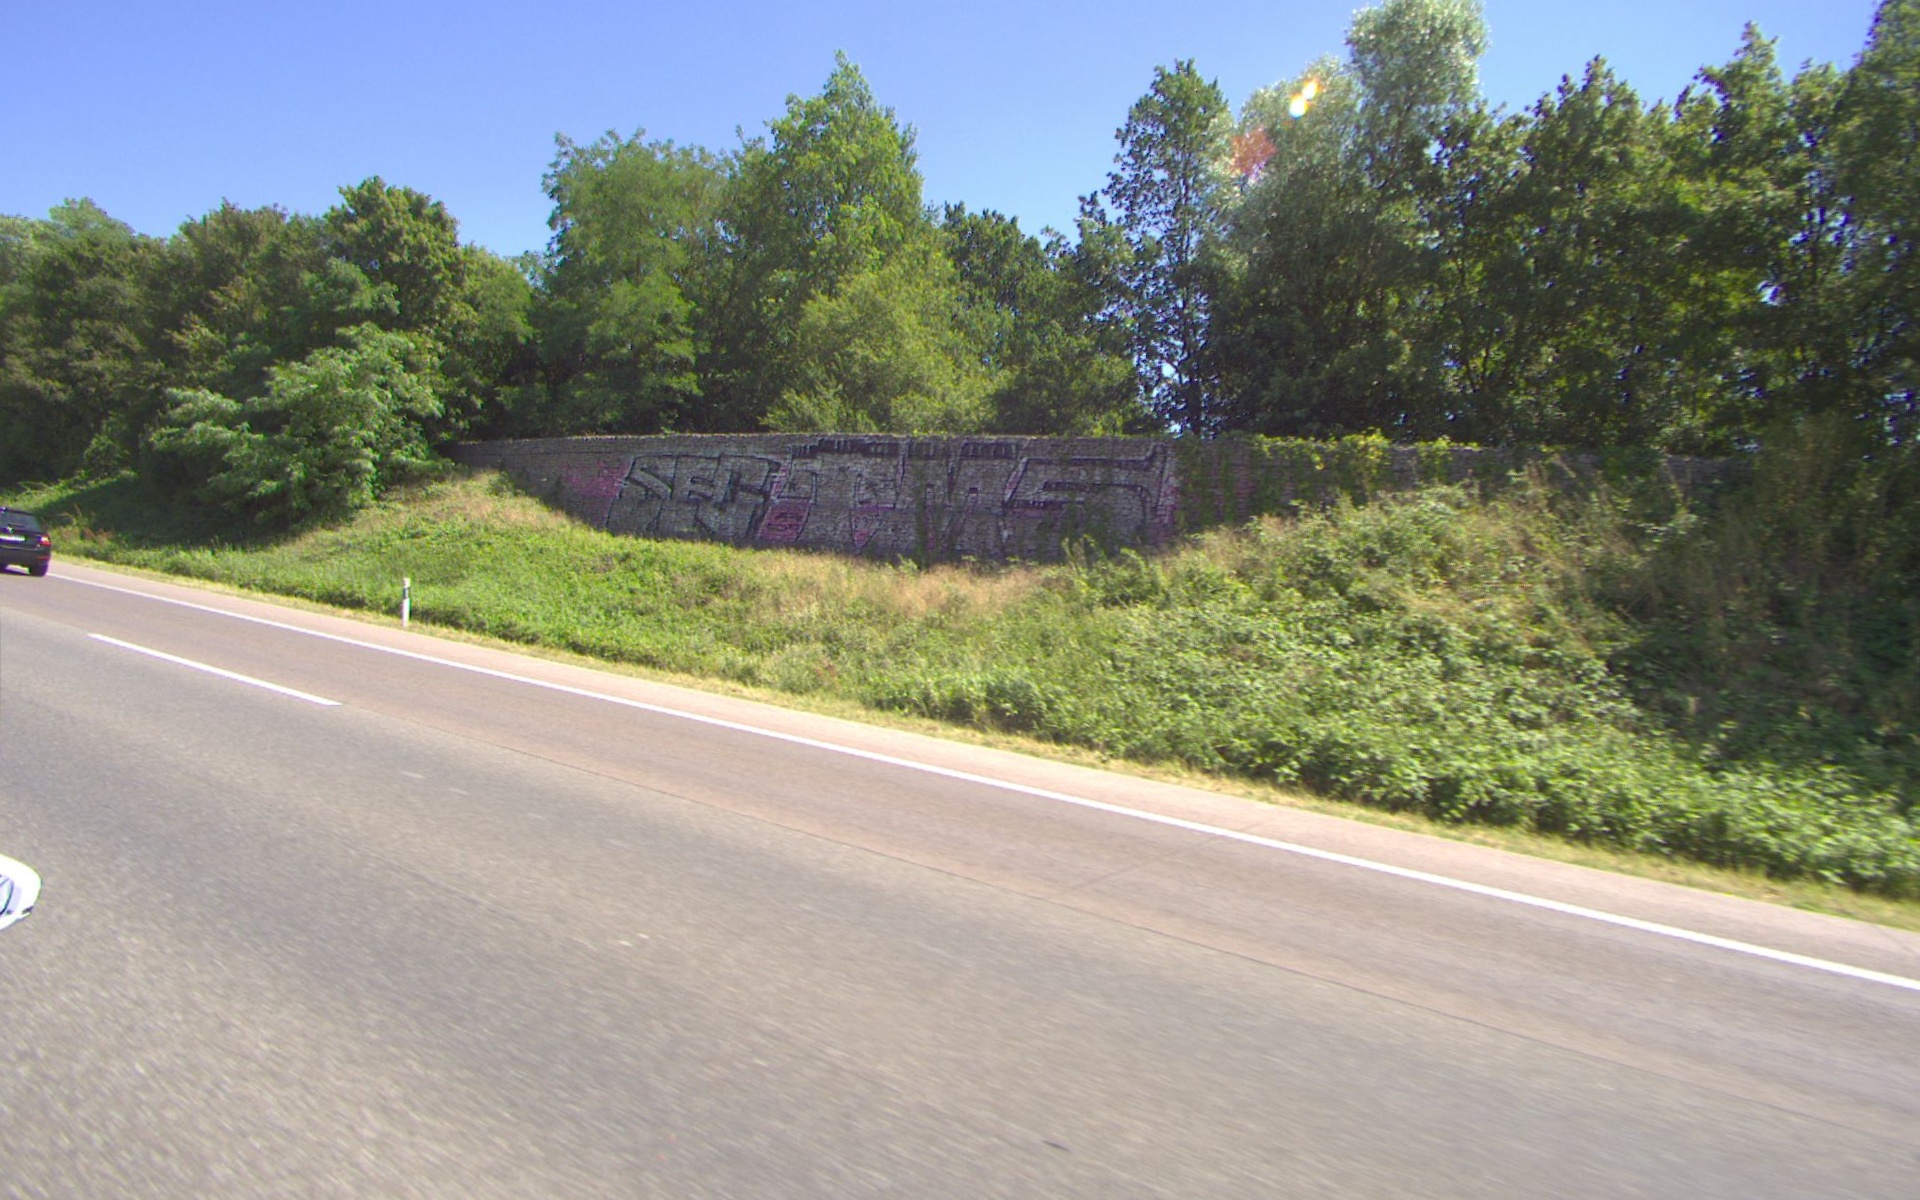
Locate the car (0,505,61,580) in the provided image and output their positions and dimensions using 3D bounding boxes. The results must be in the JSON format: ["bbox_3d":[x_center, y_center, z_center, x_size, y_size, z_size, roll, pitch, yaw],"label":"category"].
[{"bbox_3d":[-22.277,-1.461,22.697,4.498,1.464,1.673,6,-2,32],"label":"car"}]
